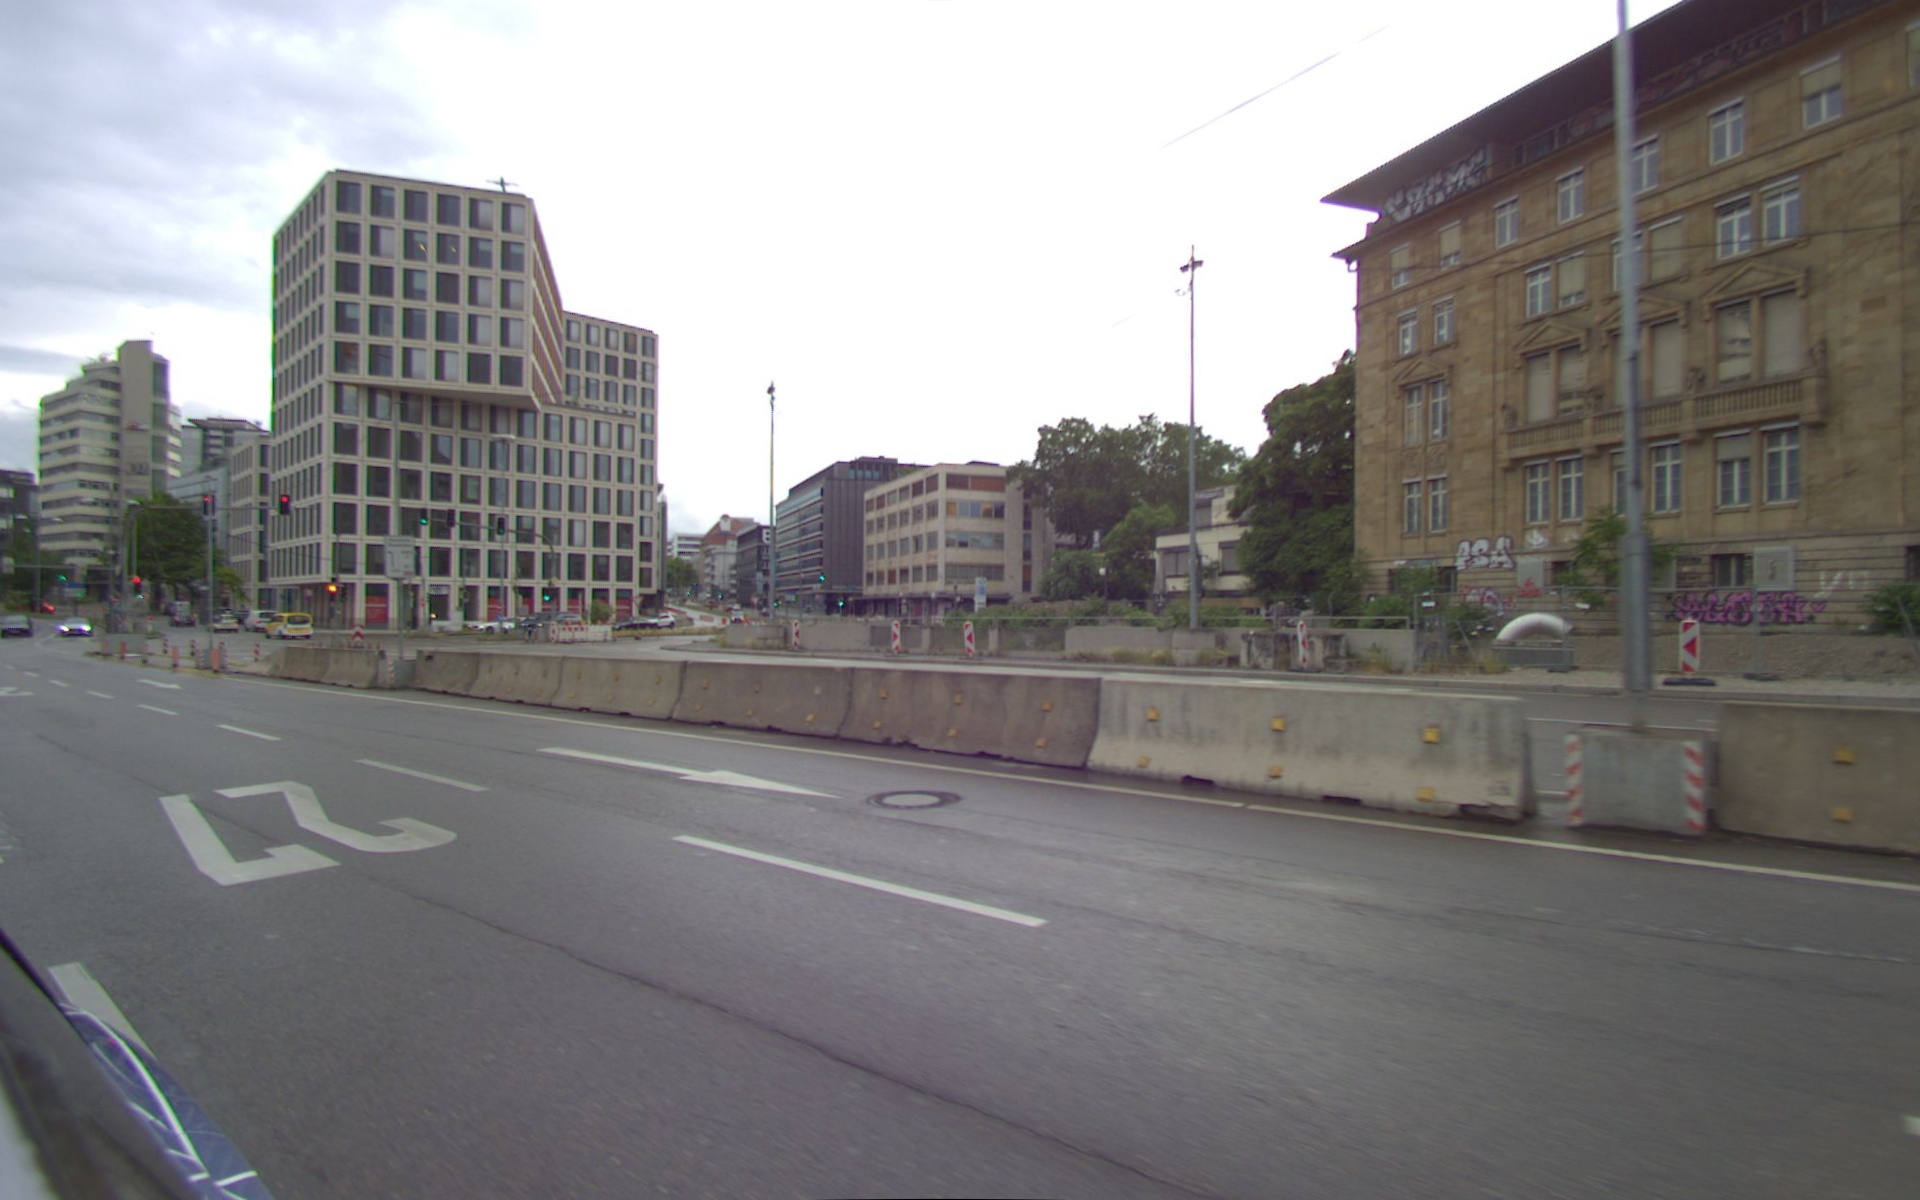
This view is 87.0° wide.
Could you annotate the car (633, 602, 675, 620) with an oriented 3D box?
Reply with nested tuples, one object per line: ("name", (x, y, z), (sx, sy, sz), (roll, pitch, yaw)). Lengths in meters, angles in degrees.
("car", (-30.561, 1.136, 101.165), (1.846, 1.729, 4.098), (-1, -1, 23))

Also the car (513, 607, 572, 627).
("car", (-32.828, 1.317, 79.631), (1.831, 1.497, 3.955), (-1, 0, 33))

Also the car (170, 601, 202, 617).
("car", (-80.066, 0.976, 104.670), (4.178, 1.610, 1.826), (-1, 0, 41))

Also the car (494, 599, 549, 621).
("car", (-38.101, 0.811, 87.966), (1.806, 1.829, 3.942), (0, 0, 44))

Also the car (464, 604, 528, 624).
("car", (-41.242, 1.256, 90.075), (2.228, 1.766, 4.747), (-1, -1, 41))

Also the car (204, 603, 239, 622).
("car", (-66.185, 1.094, 90.718), (4.382, 1.686, 1.821), (-1, 0, 44))

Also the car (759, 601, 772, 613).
("car", (-34.159, 1.191, 177.827), (1.967, 2.029, 4.010), (0, -1, -13))

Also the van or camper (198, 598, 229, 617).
("van or camper", (-80.379, 0.772, 109.002), (4.254, 1.994, 1.826), (-1, 0, 41))

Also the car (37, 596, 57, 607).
("car", (-139.789, 0.194, 154.907), (4.178, 1.610, 1.826), (-1, 0, 41))

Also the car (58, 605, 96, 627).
("car", (-68.544, 1.228, 78.618), (1.986, 1.610, 4.672), (0, 0, -39))

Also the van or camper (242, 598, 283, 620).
("van or camper", (-64.094, 0.828, 92.928), (5.210, 1.908, 1.862), (-1, 0, 41))

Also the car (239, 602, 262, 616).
("car", (-79.328, 0.959, 113.159), (1.837, 1.534, 4.007), (0, -1, -39))

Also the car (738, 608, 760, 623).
("car", (-25.589, 1.863, 122.829), (1.831, 1.729, 4.130), (-1, -1, 0))

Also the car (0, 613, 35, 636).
("car", (-71.123, 1.805, 76.298), (1.988, 1.610, 4.667), (0, 0, -44))

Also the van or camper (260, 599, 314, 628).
("van or camper", (-50.084, 1.015, 75.270), (5.610, 2.070, 2.214), (-1, 0, 45))

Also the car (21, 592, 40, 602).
("car", (-146.600, -0.431, 159.574), (4.178, 1.610, 1.826), (-1, 0, 41))
